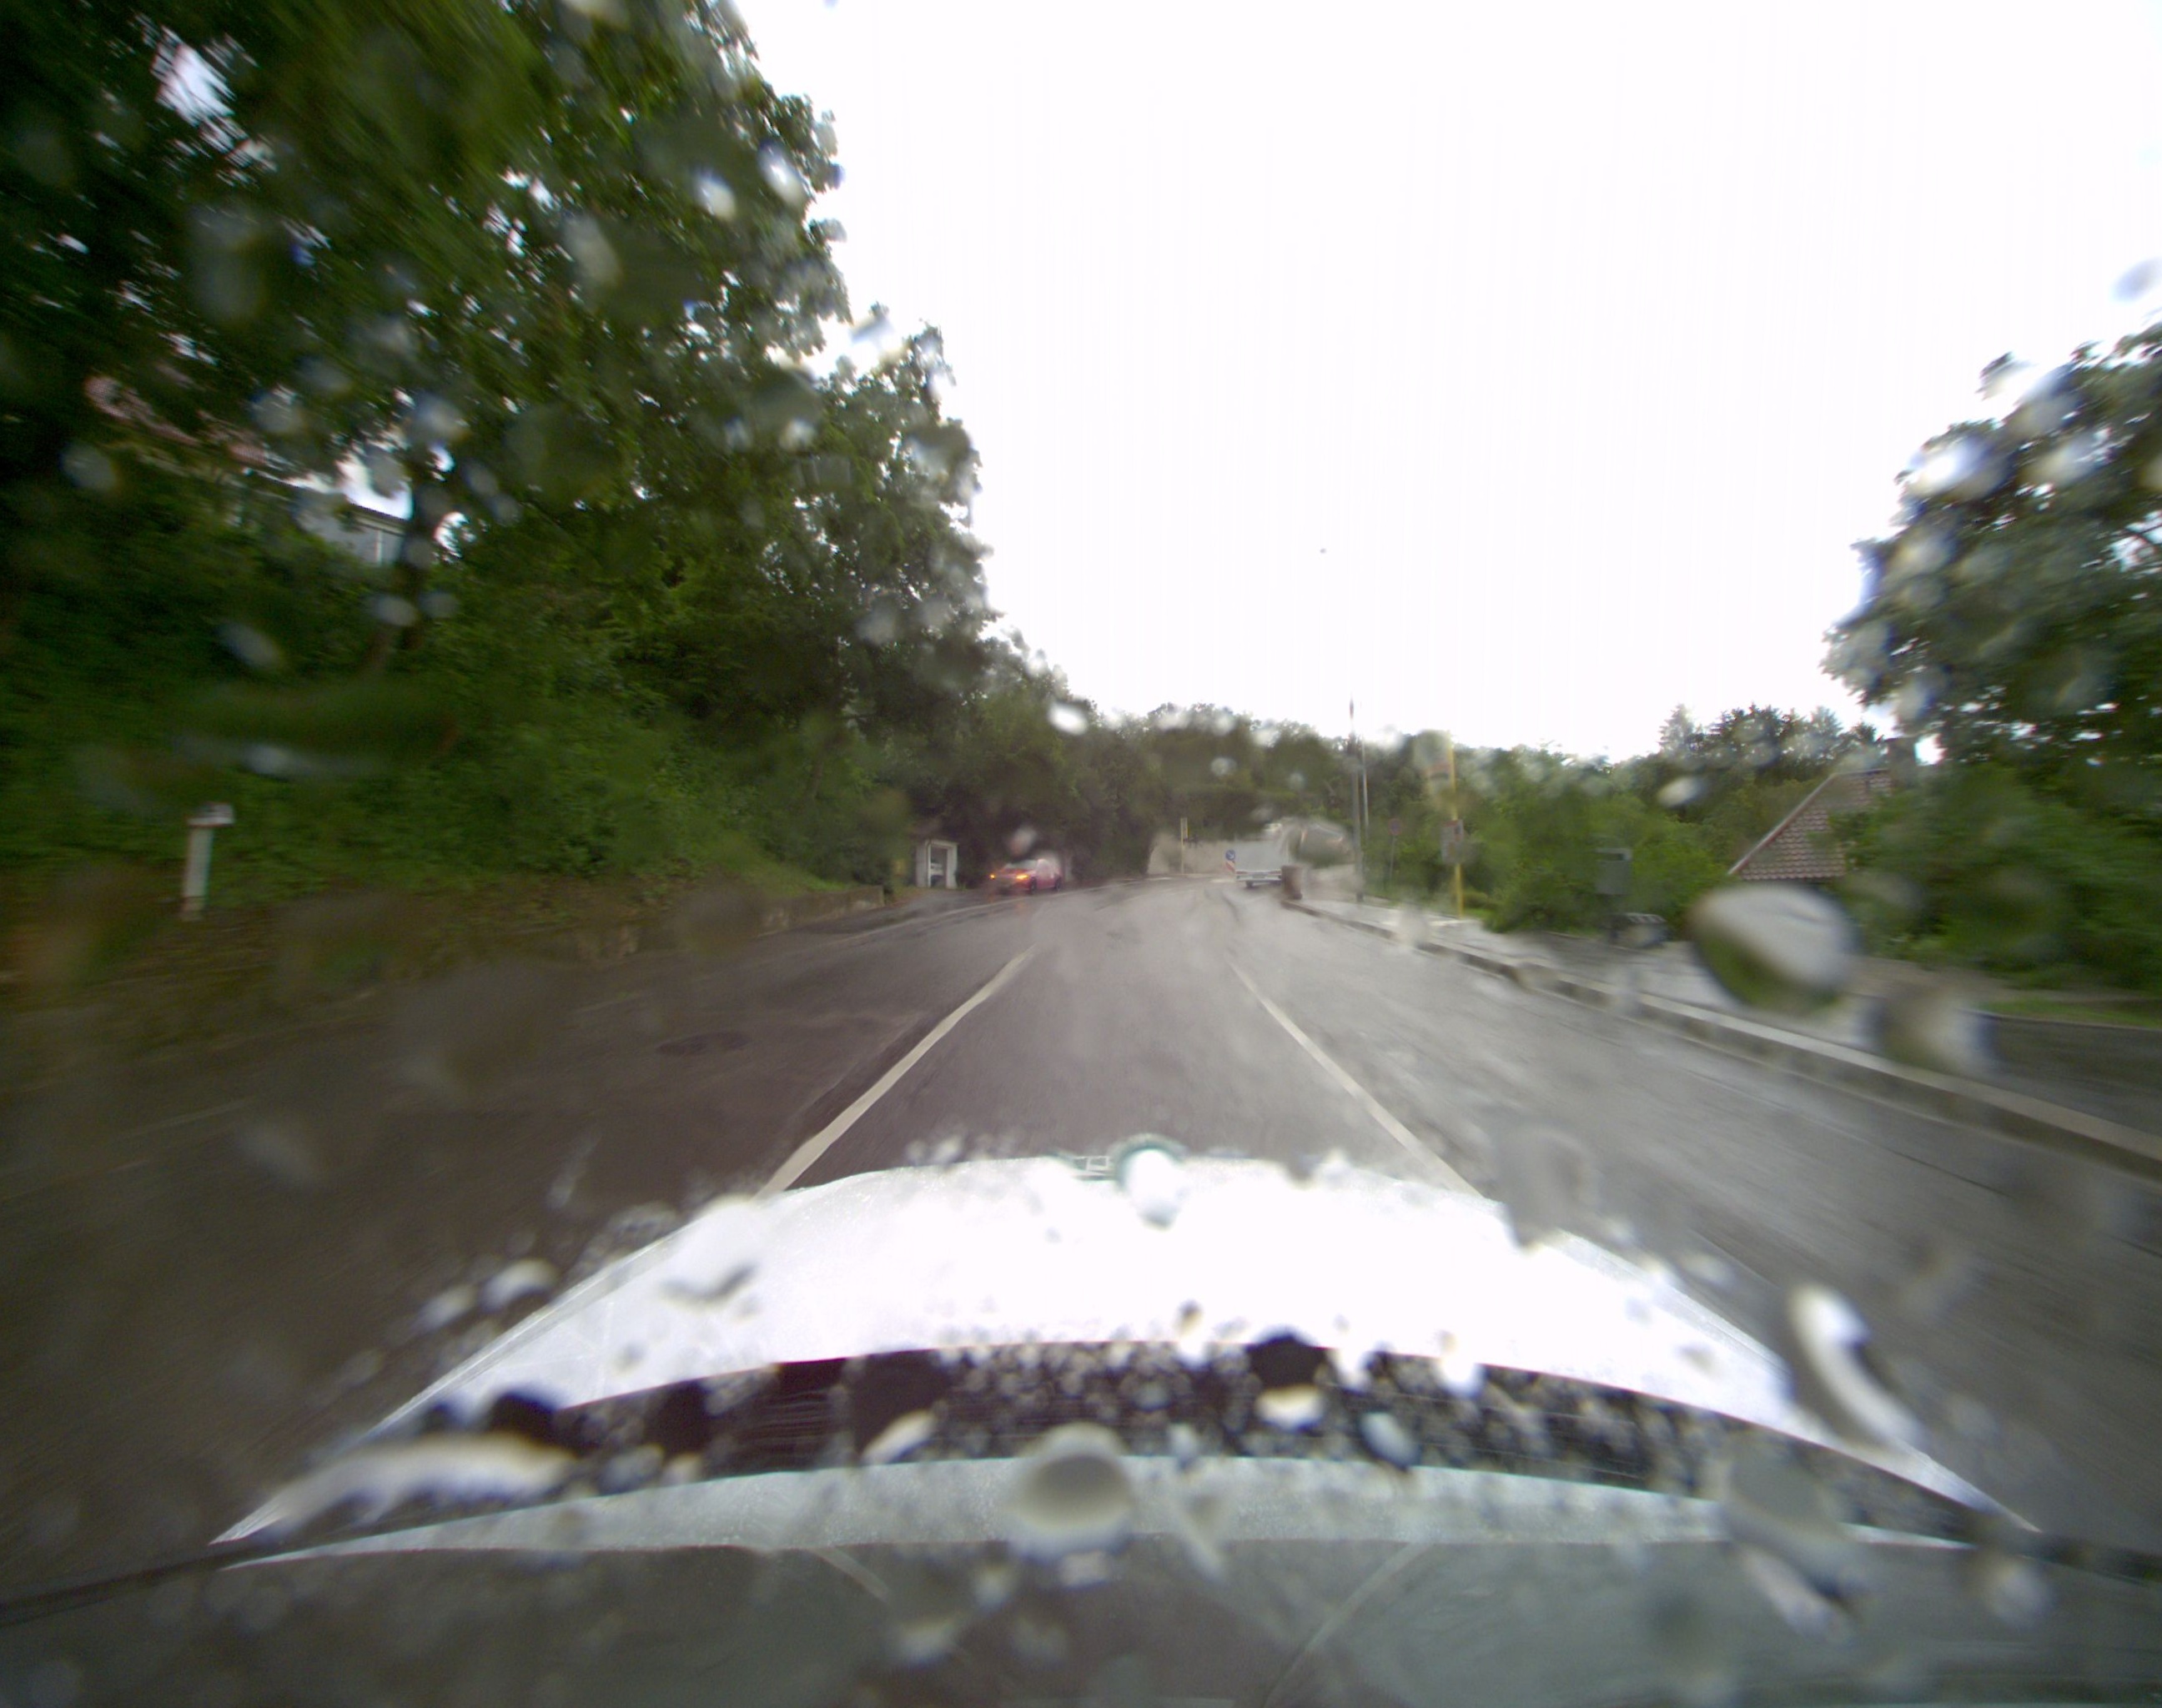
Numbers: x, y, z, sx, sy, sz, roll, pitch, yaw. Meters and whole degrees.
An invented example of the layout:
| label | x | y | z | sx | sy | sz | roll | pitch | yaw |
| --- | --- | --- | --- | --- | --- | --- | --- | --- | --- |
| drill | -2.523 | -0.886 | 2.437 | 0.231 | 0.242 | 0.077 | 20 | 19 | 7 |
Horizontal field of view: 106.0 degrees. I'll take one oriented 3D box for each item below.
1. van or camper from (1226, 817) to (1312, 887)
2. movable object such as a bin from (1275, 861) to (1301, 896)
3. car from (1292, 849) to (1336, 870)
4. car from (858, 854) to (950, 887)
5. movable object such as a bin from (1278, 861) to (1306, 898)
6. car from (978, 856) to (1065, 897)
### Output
| label | x | y | z | sx | sy | sz | roll | pitch | yaw |
| --- | --- | --- | --- | --- | --- | --- | --- | --- | --- |
| van or camper | 9.080 | -0.126 | 38.875 | 2.516 | 2.925 | 5.983 | -5 | -1 | 26 |
| movable object such as a bin | 6.871 | 0.802 | 27.080 | 0.773 | 1.133 | 0.740 | -1 | 0 | 8 |
| car | 18.324 | 0.413 | 63.906 | 1.710 | 1.415 | 4.026 | -6 | -2 | 40 |
| car | -8.702 | 0.805 | 40.060 | 3.955 | 1.503 | 1.887 | -2 | 0 | 17 |
| movable object such as a bin | 6.657 | 0.788 | 25.676 | 0.773 | 1.133 | 0.740 | -1 | 0 | 8 |
| car | -2.372 | 0.877 | 34.092 | 1.977 | 1.561 | 4.674 | 0 | 0 | 18 |
